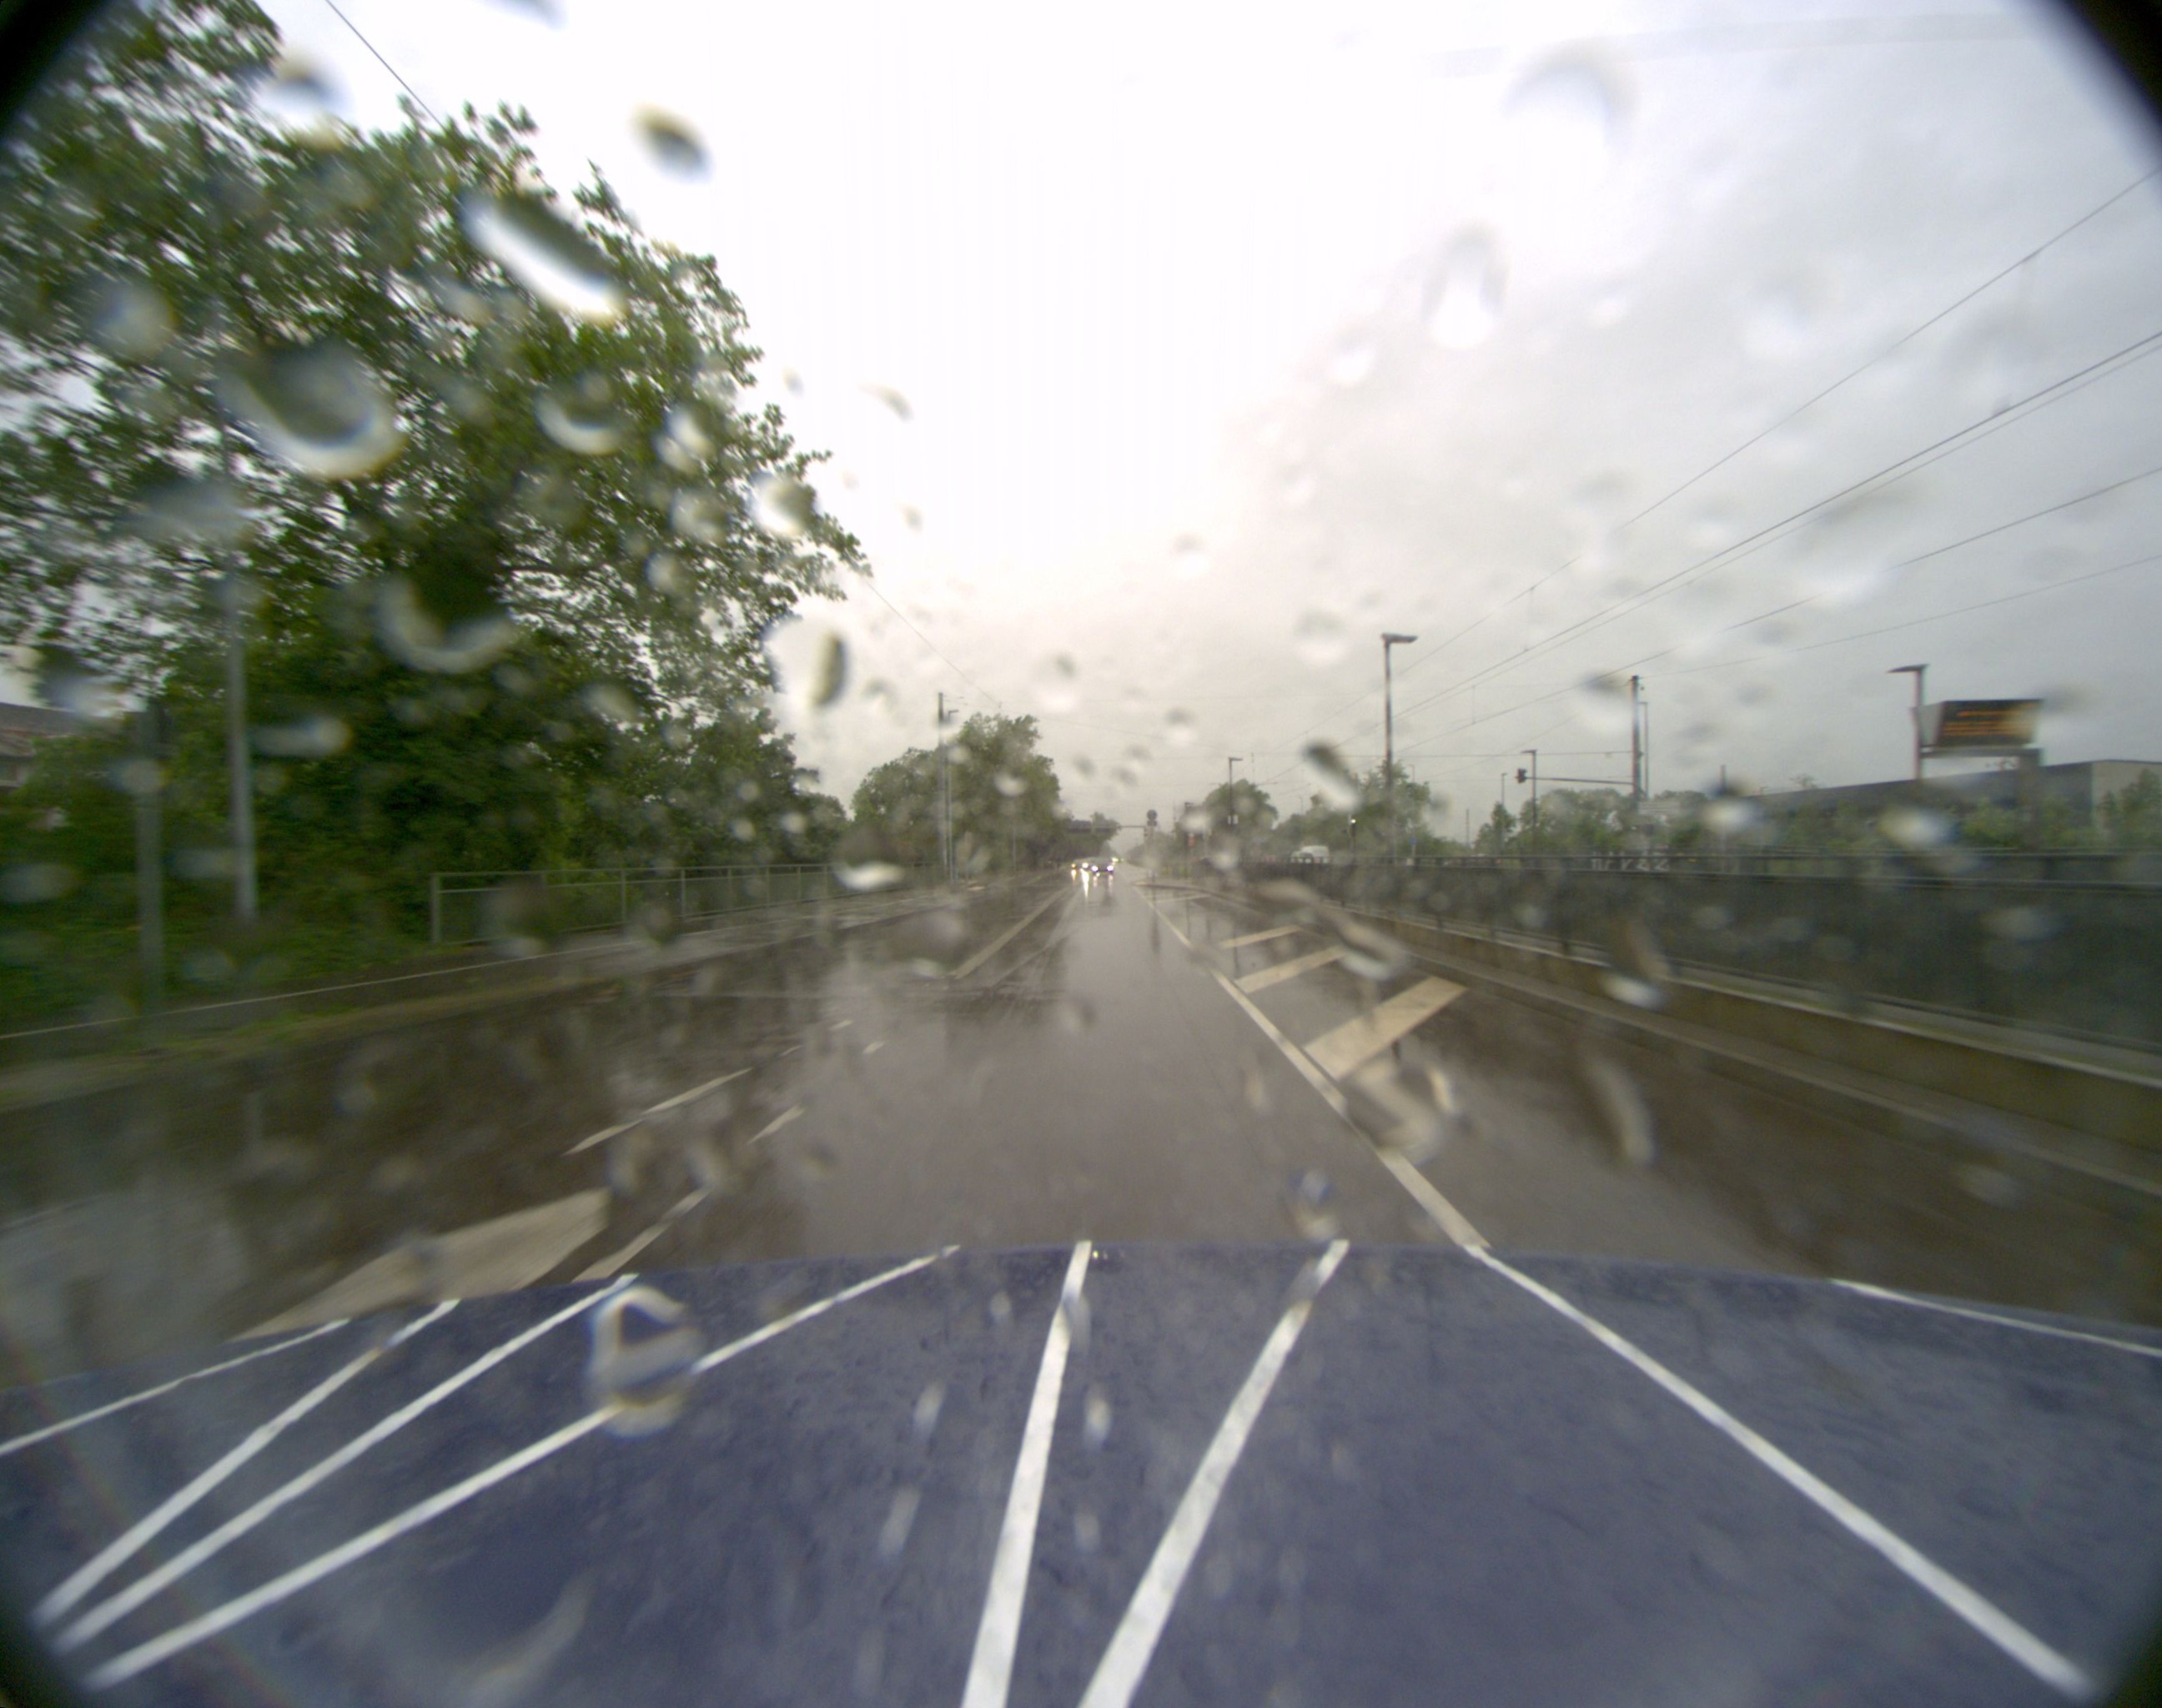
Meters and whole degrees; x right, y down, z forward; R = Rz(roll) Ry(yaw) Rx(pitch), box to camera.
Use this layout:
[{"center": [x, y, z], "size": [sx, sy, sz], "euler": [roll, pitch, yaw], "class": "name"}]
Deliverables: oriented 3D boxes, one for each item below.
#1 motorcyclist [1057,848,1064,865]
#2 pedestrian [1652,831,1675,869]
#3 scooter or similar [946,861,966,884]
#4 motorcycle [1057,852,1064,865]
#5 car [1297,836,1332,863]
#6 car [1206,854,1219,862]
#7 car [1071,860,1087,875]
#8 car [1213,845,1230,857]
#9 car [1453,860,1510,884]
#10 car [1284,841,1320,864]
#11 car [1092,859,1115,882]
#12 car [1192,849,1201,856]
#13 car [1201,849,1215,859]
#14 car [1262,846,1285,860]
[{"center": [-2.885, 0.352, 107.697], "size": [0.762, 2.246, 0.916], "euler": [-2, 1, 2], "class": "motorcyclist"}, {"center": [30.751, -0.205, 40.119], "size": [0.700, 2.002, 0.697], "euler": [-1, 1, 3], "class": "pedestrian"}, {"center": [-7.455, 1.111, 45.537], "size": [0.761, 1.285, 1.647], "euler": [-2, 1, 5], "class": "scooter or similar"}, {"center": [-2.869, 0.614, 107.806], "size": [0.845, 1.710, 2.586], "euler": [-2, 0, 2], "class": "motorcycle"}, {"center": [24.700, -0.436, 80.580], "size": [2.125, 2.697, 5.739], "euler": [-2, 0, 2], "class": "car"}, {"center": [26.588, 0.737, 154.006], "size": [1.998, 1.477, 4.299], "euler": [-1, 0, 1], "class": "car"}, {"center": [-0.297, 1.790, 102.598], "size": [1.999, 2.002, 3.999], "euler": [-2, 0, -2], "class": "car"}, {"center": [22.181, -0.436, 119.985], "size": [1.998, 1.761, 4.258], "euler": [-2, 0, 2], "class": "car"}, {"center": [33.578, 1.529, 63.824], "size": [3.991, 1.849, 2.003], "euler": [-2, 1, 22], "class": "car"}, {"center": [20.819, -0.117, 71.764], "size": [1.998, 2.002, 4.754], "euler": [-2, 0, 2], "class": "car"}, {"center": [2.145, 1.495, 71.286], "size": [1.998, 2.002, 4.001], "euler": [-1, 0, 3], "class": "car"}, {"center": [26.769, -0.361, 175.805], "size": [1.605, 1.580, 3.619], "euler": [-2, 1, 2], "class": "car"}, {"center": [23.274, -0.012, 139.587], "size": [1.998, 1.586, 4.381], "euler": [2, 0, 2], "class": "car"}, {"center": [24.854, -0.144, 98.292], "size": [1.998, 1.697, 4.625], "euler": [-2, 0, 2], "class": "car"}]
